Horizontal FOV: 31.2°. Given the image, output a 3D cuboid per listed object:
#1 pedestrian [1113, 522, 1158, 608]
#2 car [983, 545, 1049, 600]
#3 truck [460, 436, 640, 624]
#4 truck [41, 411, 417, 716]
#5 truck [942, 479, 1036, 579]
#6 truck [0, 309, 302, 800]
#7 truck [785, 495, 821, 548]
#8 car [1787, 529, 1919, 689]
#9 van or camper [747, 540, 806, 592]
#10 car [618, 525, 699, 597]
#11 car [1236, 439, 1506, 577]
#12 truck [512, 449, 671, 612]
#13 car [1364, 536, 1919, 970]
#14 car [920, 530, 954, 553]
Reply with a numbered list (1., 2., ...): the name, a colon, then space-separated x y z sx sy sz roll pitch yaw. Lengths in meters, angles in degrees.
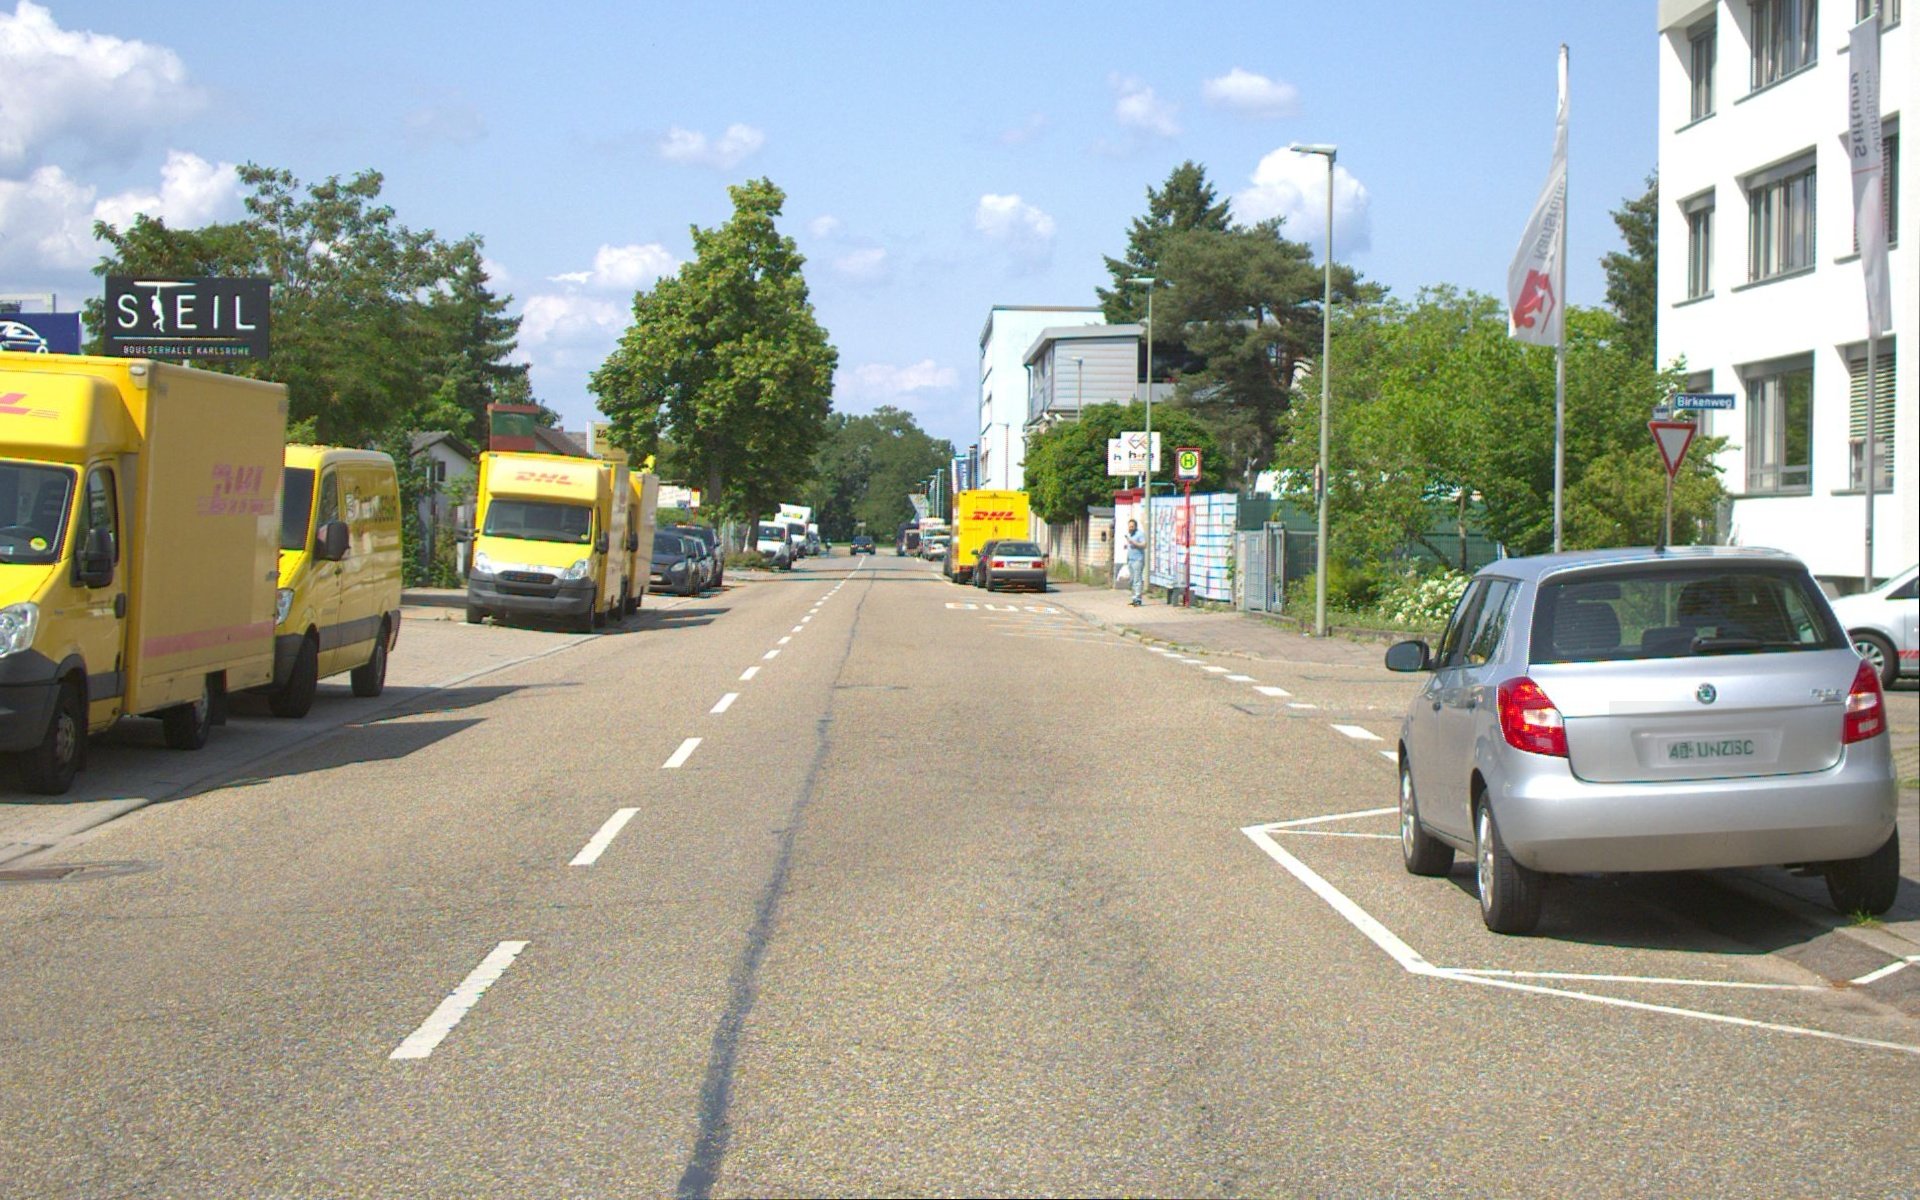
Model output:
1. pedestrian: 3.575 -0.723 70.009 0.715 1.691 0.522 -5 1 -5
2. car: 1.540 -0.777 95.740 1.651 1.382 4.423 2 2 -1
3. truck: -6.720 -1.125 57.134 2.269 2.845 7.175 2 0 -2
4. truck: -6.323 -0.357 30.509 1.993 2.405 6.065 1 1 0
5. truck: 0.853 -2.204 107.239 2.474 2.930 7.189 2 1 -2
6. truck: -6.381 -0.380 23.572 2.220 2.847 7.069 2 1 0
7. truck: -9.659 -4.834 211.853 2.029 3.143 6.500 1 1 -1
8. car: 11.634 0.146 38.659 4.399 1.746 1.863 1 -1 17
9. van or camper: -8.846 -1.672 166.628 2.174 2.405 7.697 1 1 2
10. car: -7.398 -0.974 84.554 1.724 1.598 4.415 4 1 -3
11. car: 8.150 -1.822 68.399 4.905 2.643 2.074 1 1 -8
12. truck: -7.055 -1.350 66.569 2.316 2.853 7.105 3 1 -1
13. car: 2.821 0.544 15.016 1.610 1.575 4.000 2 1 0
14. car: -1.353 -3.419 199.878 1.928 1.306 4.000 1 1 -1
